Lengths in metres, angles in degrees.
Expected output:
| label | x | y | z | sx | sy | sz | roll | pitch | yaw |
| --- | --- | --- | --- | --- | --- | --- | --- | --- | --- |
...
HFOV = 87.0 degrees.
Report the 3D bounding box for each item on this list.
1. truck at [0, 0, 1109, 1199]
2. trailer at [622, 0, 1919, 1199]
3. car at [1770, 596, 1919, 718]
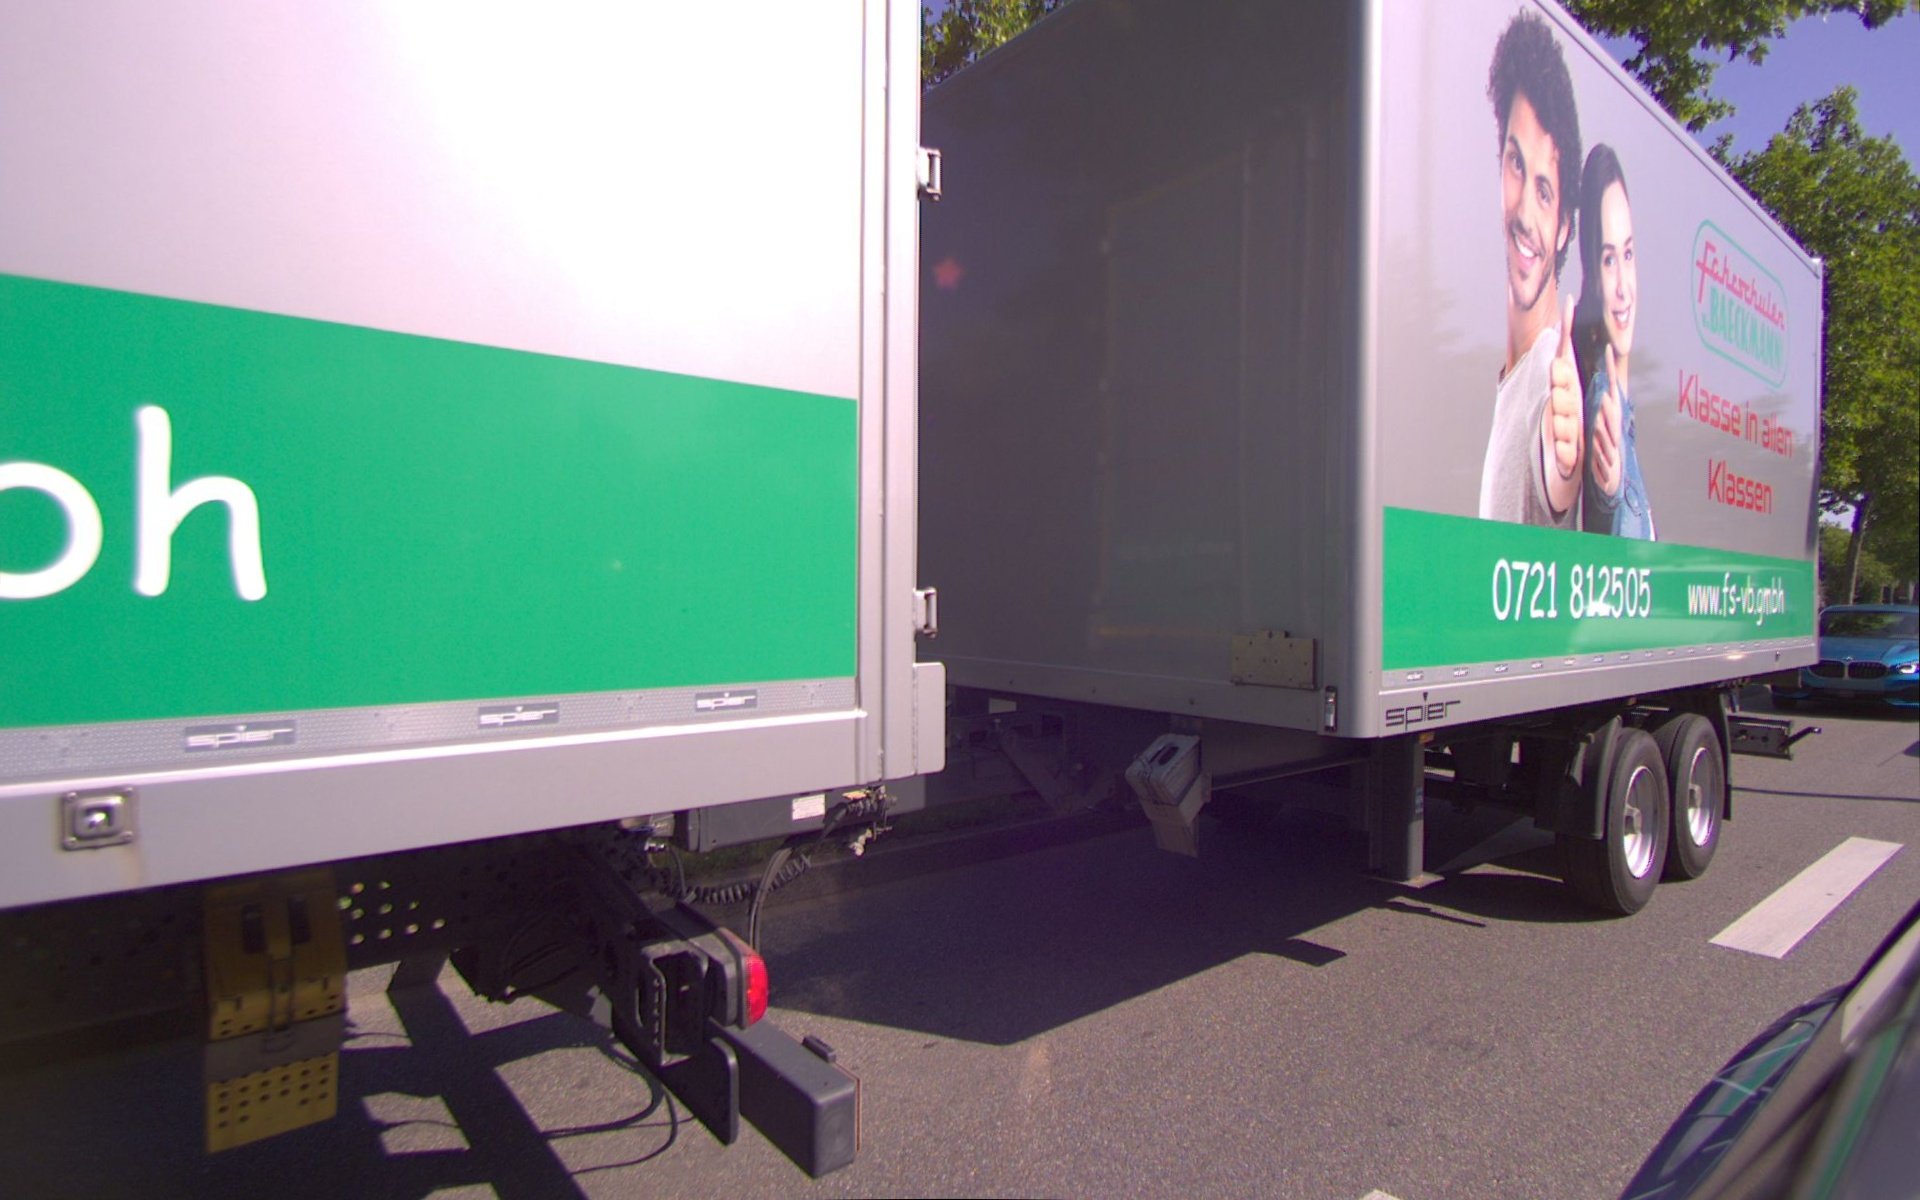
| label | x | y | z | sx | sy | sz | roll | pitch | yaw |
| --- | --- | --- | --- | --- | --- | --- | --- | --- | --- |
| truck | -3.927 | -0.640 | 0.220 | 8.564 | 3.938 | 2.737 | -1 | 2 | -38 |
| trailer | 2.470 | -0.720 | 5.322 | 7.596 | 3.925 | 2.743 | -1 | 2 | -39 |
| car | 12.901 | 0.690 | 14.053 | 4.058 | 1.437 | 1.871 | 0 | 2 | -41 |
